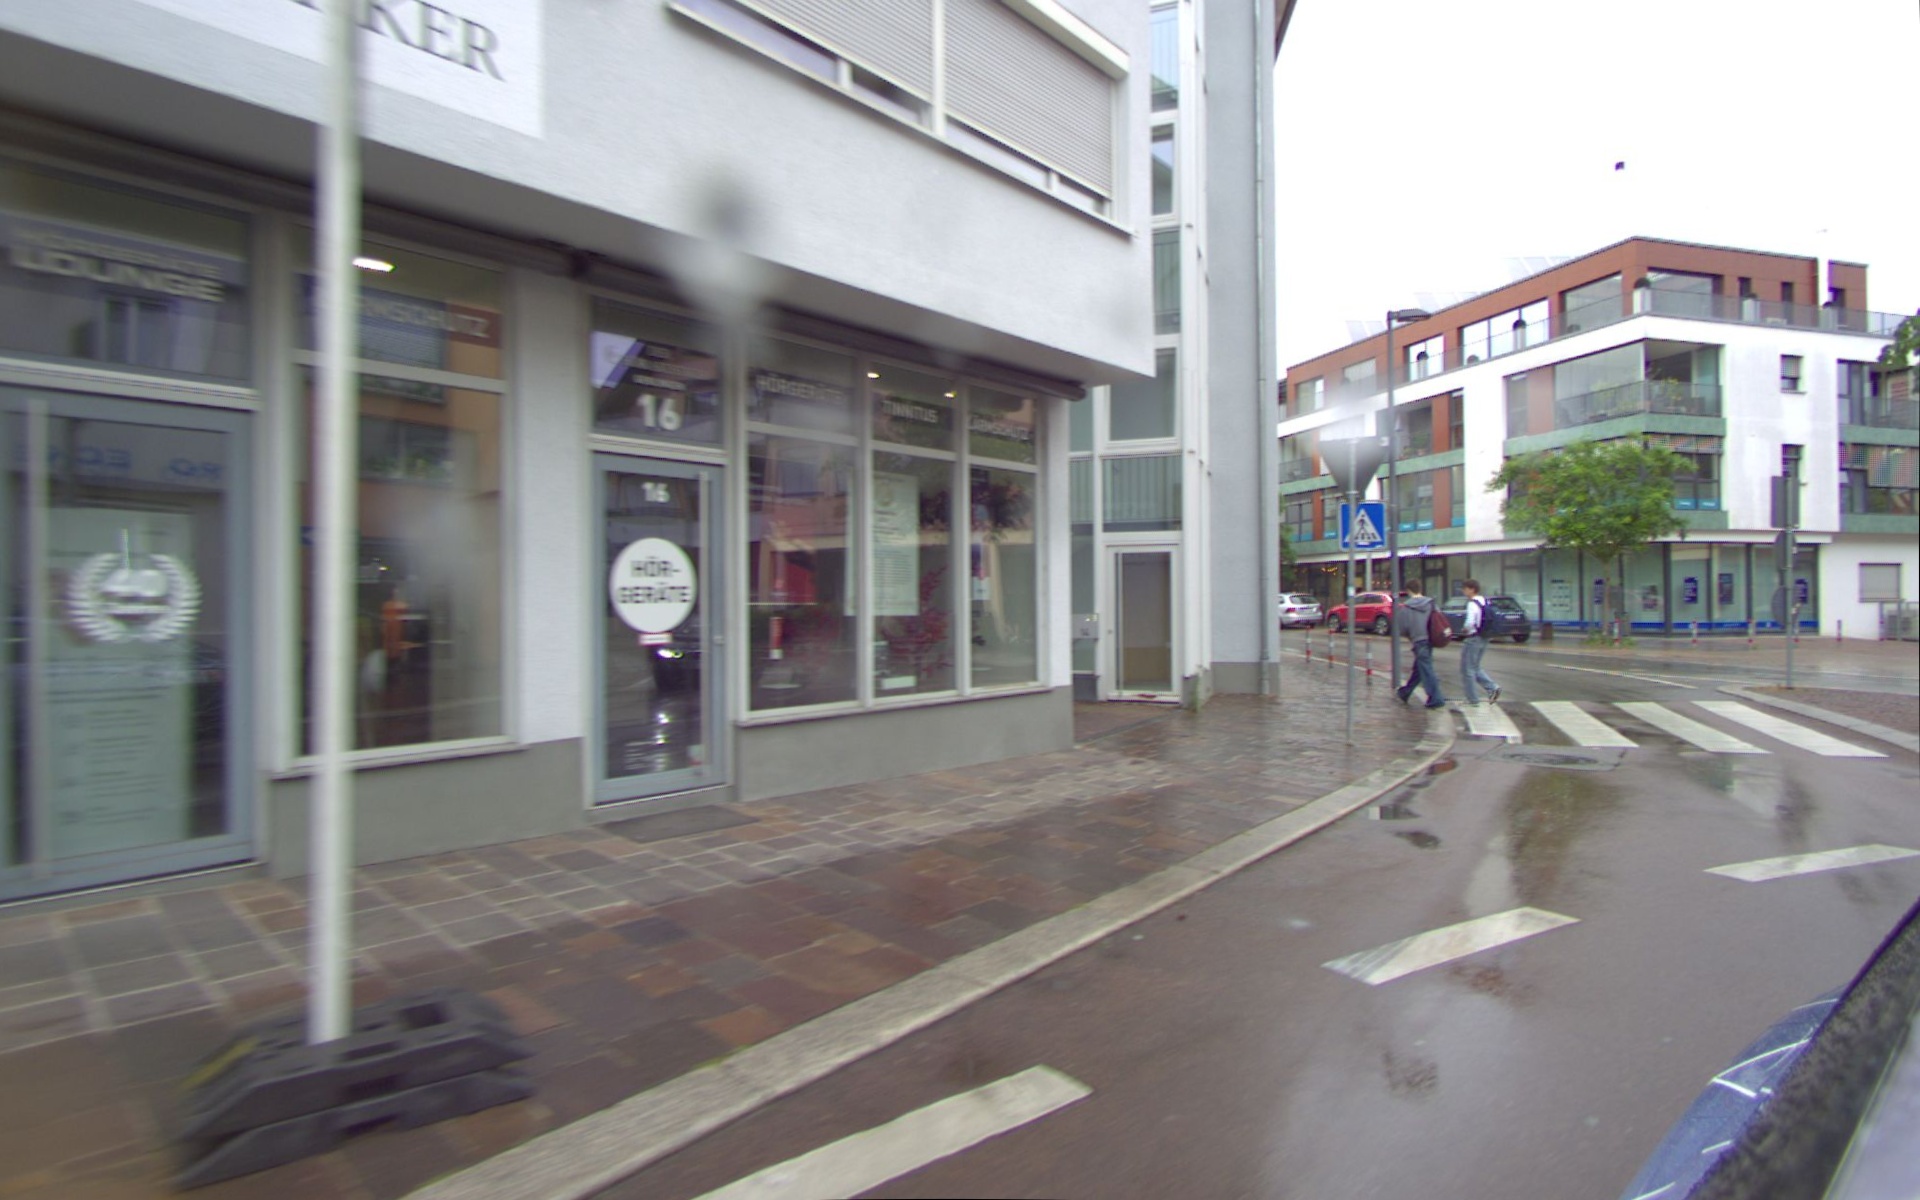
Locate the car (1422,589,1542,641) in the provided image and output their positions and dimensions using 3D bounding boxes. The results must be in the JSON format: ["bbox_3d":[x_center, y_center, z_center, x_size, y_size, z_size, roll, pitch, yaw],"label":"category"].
[{"bbox_3d":[16.219,0.416,31.621,1.509,1.378,3.381,-2,3,-13],"label":"car"}]

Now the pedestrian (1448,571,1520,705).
[{"bbox_3d":[7.428,0.522,14.385,0.656,1.829,1.056,-1,0,16],"label":"pedestrian"}]

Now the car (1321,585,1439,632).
[{"bbox_3d":[15.058,0.287,36.502,1.595,1.519,4.008,-4,1,-20],"label":"car"}]

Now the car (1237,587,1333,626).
[{"bbox_3d":[13.393,0.243,41.965,1.587,1.431,4.008,-4,2,-21],"label":"car"}]

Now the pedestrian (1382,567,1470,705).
[{"bbox_3d":[6.441,0.477,14.036,0.681,1.823,1.058,-1,0,-1],"label":"pedestrian"}]
